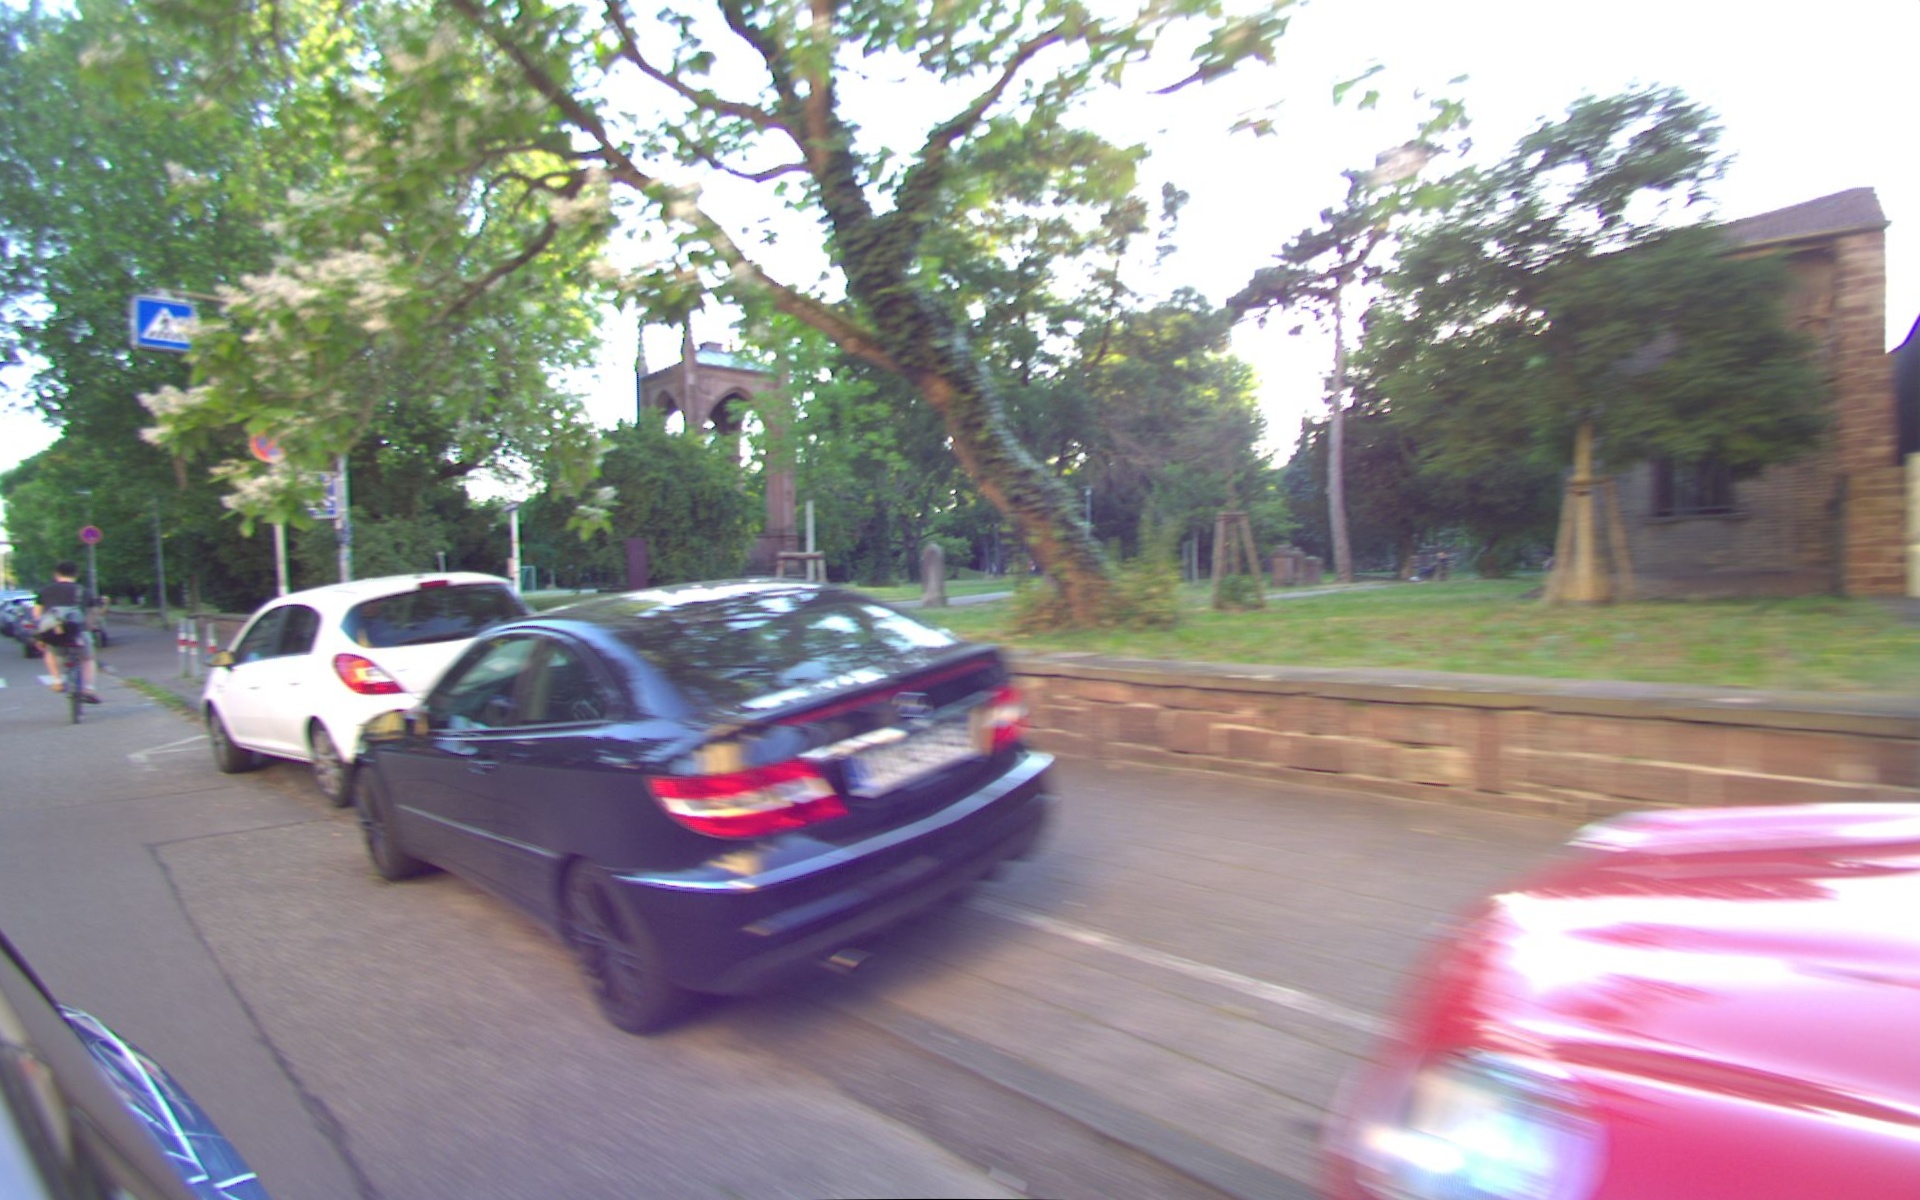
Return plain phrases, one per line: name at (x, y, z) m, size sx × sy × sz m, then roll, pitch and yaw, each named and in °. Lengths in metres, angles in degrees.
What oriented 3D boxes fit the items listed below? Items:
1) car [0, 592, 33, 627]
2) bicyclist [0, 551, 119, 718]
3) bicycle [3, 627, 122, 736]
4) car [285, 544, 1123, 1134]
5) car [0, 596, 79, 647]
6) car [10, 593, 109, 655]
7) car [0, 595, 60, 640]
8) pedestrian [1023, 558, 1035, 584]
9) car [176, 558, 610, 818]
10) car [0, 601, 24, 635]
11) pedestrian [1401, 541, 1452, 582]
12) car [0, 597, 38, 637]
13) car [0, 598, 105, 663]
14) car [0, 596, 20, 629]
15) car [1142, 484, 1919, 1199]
car at (-57.485, 0.612, 60.963) m, size 3.884 × 1.849 × 1.939 m, roll -1°, pitch 6°, yaw 43°
bicyclist at (-10.386, 0.376, 11.667) m, size 1.015 × 1.821 × 0.850 m, roll -1°, pitch 1°, yaw 40°
bicycle at (-10.365, 0.892, 11.671) m, size 1.862 × 1.105 × 0.752 m, roll 0°, pitch 0°, yaw 40°
car at (-1.578, 0.622, 4.765) m, size 4.415 × 1.425 × 1.644 m, roll -1°, pitch 7°, yaw 44°
car at (-33.023, 0.750, 36.169) m, size 3.884 × 1.486 × 1.764 m, roll -1°, pitch 7°, yaw 43°
car at (-27.930, 0.722, 31.367) m, size 3.884 × 1.588 × 1.764 m, roll -1°, pitch 6°, yaw 43°
car at (-38.877, 0.701, 41.996) m, size 3.884 × 1.582 × 1.764 m, roll -1°, pitch 6°, yaw 43°
pedestrian at (4.607, -1.953, 67.559) m, size 0.657 × 1.681 × 0.668 m, roll -2°, pitch 2°, yaw -11°
car at (-4.668, 0.559, 8.121) m, size 3.881 × 1.525 × 1.646 m, roll -1°, pitch 4°, yaw 40°
car at (-50.388, 0.997, 52.827) m, size 3.884 × 1.582 × 1.764 m, roll -1°, pitch 6°, yaw 43°
pedestrian at (17.358, -1.437, 37.631) m, size 1.218 × 1.437 × 1.284 m, roll -2°, pitch 1°, yaw -39°
car at (-43.042, 0.785, 45.562) m, size 3.884 × 1.582 × 1.764 m, roll -1°, pitch 6°, yaw 43°
car at (-24.958, 0.796, 27.713) m, size 3.884 × 1.461 × 1.764 m, roll -1°, pitch 7°, yaw 43°
car at (-65.185, 0.895, 68.512) m, size 3.884 × 2.050 × 1.764 m, roll -1°, pitch 6°, yaw 43°
car at (2.287, 0.562, 0.654) m, size 3.926 × 1.420 × 1.645 m, roll -1°, pitch 6°, yaw 42°
